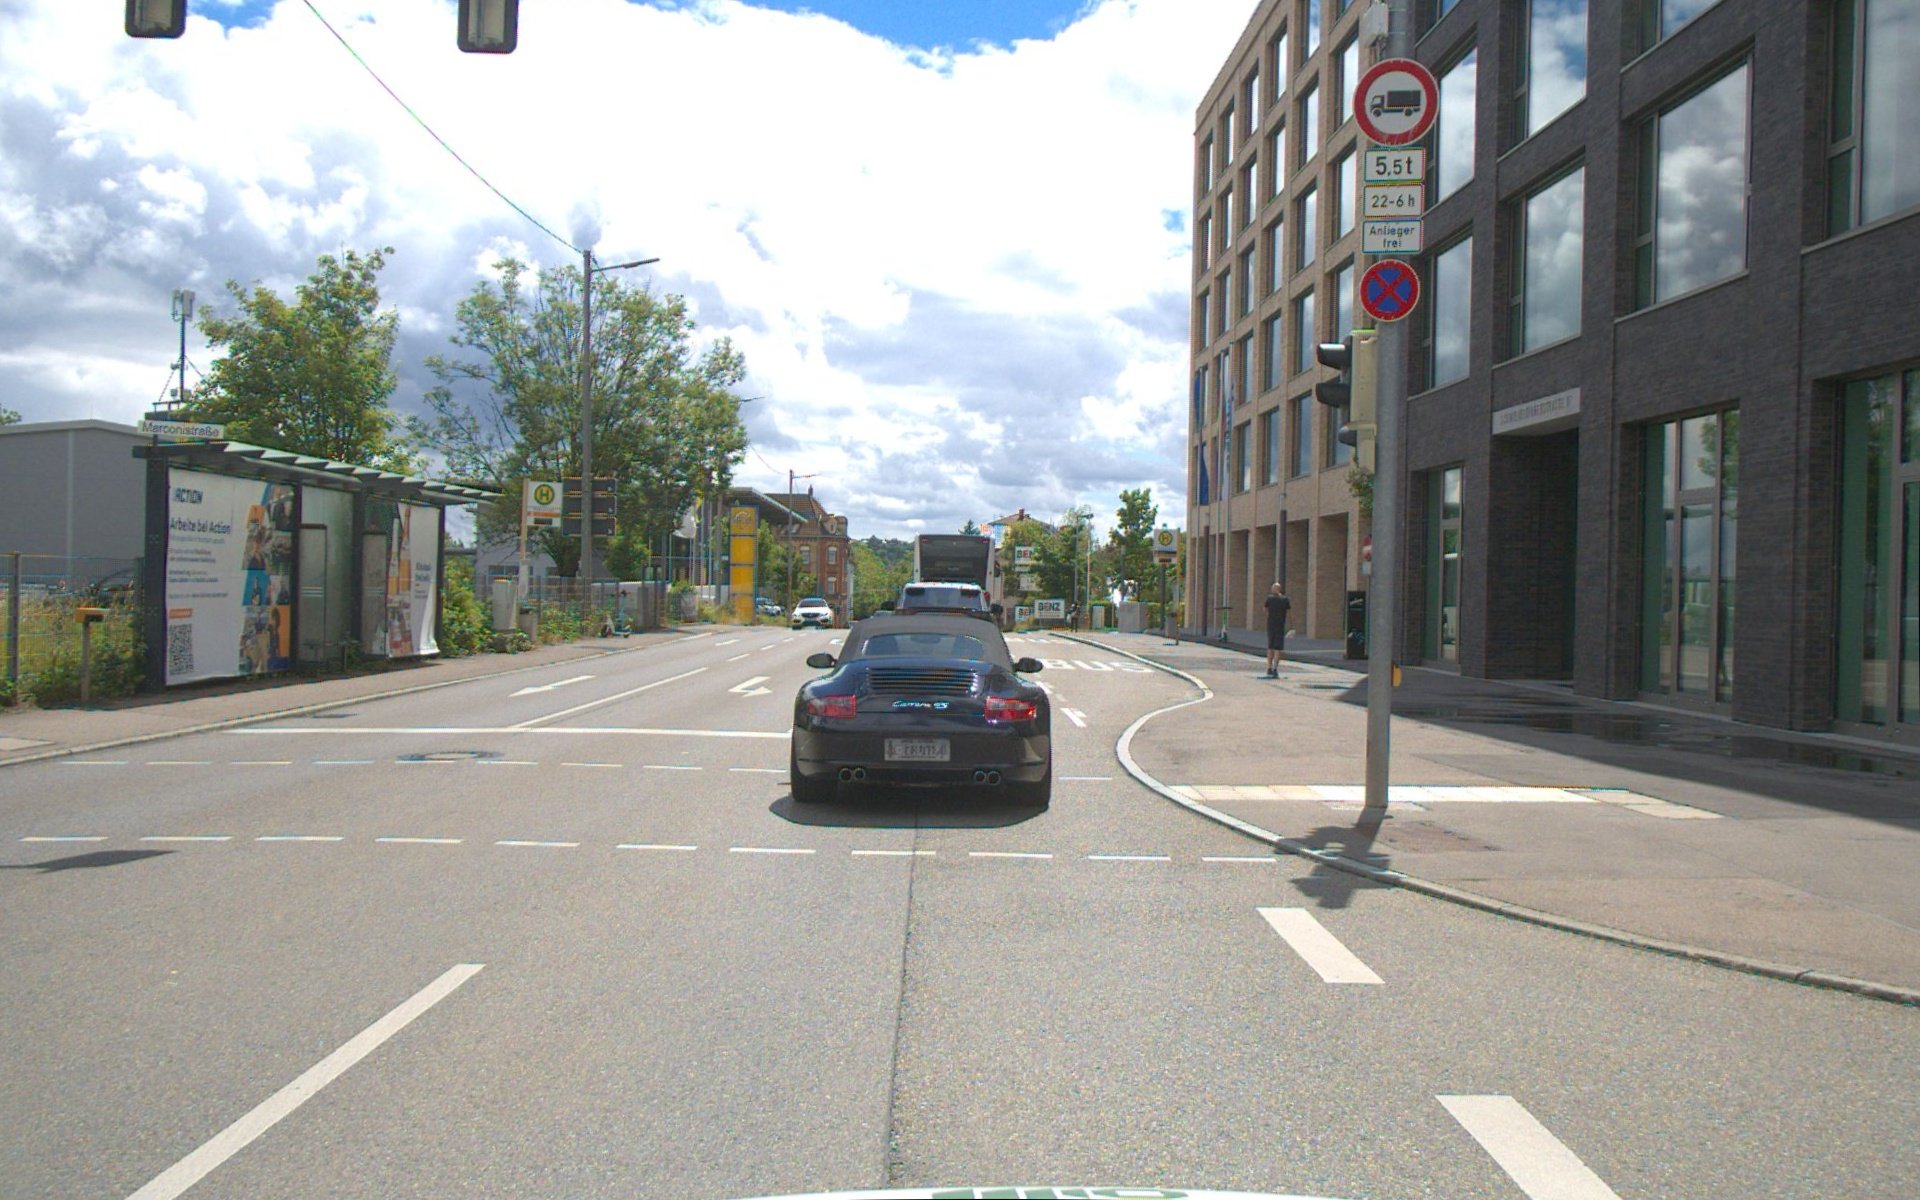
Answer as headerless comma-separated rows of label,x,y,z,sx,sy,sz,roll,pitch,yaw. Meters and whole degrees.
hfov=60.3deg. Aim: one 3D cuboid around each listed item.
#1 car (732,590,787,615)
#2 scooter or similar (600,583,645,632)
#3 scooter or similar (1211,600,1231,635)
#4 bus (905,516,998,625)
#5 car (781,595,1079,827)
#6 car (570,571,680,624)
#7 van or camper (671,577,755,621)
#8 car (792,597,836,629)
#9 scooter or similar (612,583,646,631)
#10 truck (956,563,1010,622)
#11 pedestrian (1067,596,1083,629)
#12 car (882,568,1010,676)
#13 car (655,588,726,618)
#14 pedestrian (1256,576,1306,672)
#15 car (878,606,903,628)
car,-14.296,0.185,118.144,1.891,1.600,4.552,1,-2,22
scooter or similar,-9.141,0.205,44.792,0.523,1.284,1.472,3,0,16
scooter or similar,8.720,0.583,55.345,0.418,1.173,1.403,1,0,-1
bus,-0.211,-0.981,56.399,2.744,3.253,12.196,1,1,0
car,-0.196,0.712,12.786,1.891,1.400,4.208,1,1,0
car,-13.621,-0.112,67.470,4.078,2.049,2.197,1,1,-4
van or camper,-15.569,-0.083,104.309,4.925,2.575,2.317,1,1,-2
car,-6.824,0.584,77.673,1.760,1.400,4.224,0,1,-1
scooter or similar,-9.255,0.182,46.288,0.523,1.288,1.472,3,0,4
truck,1.191,-0.438,91.086,2.658,3.108,7.711,1,1,-1
pedestrian,5.555,0.615,79.900,0.673,1.563,0.856,1,0,-2
car,-0.309,0.313,27.432,1.892,1.610,4.205,1,0,-3
car,-16.564,0.189,101.669,3.903,1.735,2.001,1,1,4
pedestrian,6.032,0.443,31.109,0.669,1.758,0.962,2,0,-1
car,-4.993,1.213,118.432,1.793,1.535,4.274,1,-1,-3
